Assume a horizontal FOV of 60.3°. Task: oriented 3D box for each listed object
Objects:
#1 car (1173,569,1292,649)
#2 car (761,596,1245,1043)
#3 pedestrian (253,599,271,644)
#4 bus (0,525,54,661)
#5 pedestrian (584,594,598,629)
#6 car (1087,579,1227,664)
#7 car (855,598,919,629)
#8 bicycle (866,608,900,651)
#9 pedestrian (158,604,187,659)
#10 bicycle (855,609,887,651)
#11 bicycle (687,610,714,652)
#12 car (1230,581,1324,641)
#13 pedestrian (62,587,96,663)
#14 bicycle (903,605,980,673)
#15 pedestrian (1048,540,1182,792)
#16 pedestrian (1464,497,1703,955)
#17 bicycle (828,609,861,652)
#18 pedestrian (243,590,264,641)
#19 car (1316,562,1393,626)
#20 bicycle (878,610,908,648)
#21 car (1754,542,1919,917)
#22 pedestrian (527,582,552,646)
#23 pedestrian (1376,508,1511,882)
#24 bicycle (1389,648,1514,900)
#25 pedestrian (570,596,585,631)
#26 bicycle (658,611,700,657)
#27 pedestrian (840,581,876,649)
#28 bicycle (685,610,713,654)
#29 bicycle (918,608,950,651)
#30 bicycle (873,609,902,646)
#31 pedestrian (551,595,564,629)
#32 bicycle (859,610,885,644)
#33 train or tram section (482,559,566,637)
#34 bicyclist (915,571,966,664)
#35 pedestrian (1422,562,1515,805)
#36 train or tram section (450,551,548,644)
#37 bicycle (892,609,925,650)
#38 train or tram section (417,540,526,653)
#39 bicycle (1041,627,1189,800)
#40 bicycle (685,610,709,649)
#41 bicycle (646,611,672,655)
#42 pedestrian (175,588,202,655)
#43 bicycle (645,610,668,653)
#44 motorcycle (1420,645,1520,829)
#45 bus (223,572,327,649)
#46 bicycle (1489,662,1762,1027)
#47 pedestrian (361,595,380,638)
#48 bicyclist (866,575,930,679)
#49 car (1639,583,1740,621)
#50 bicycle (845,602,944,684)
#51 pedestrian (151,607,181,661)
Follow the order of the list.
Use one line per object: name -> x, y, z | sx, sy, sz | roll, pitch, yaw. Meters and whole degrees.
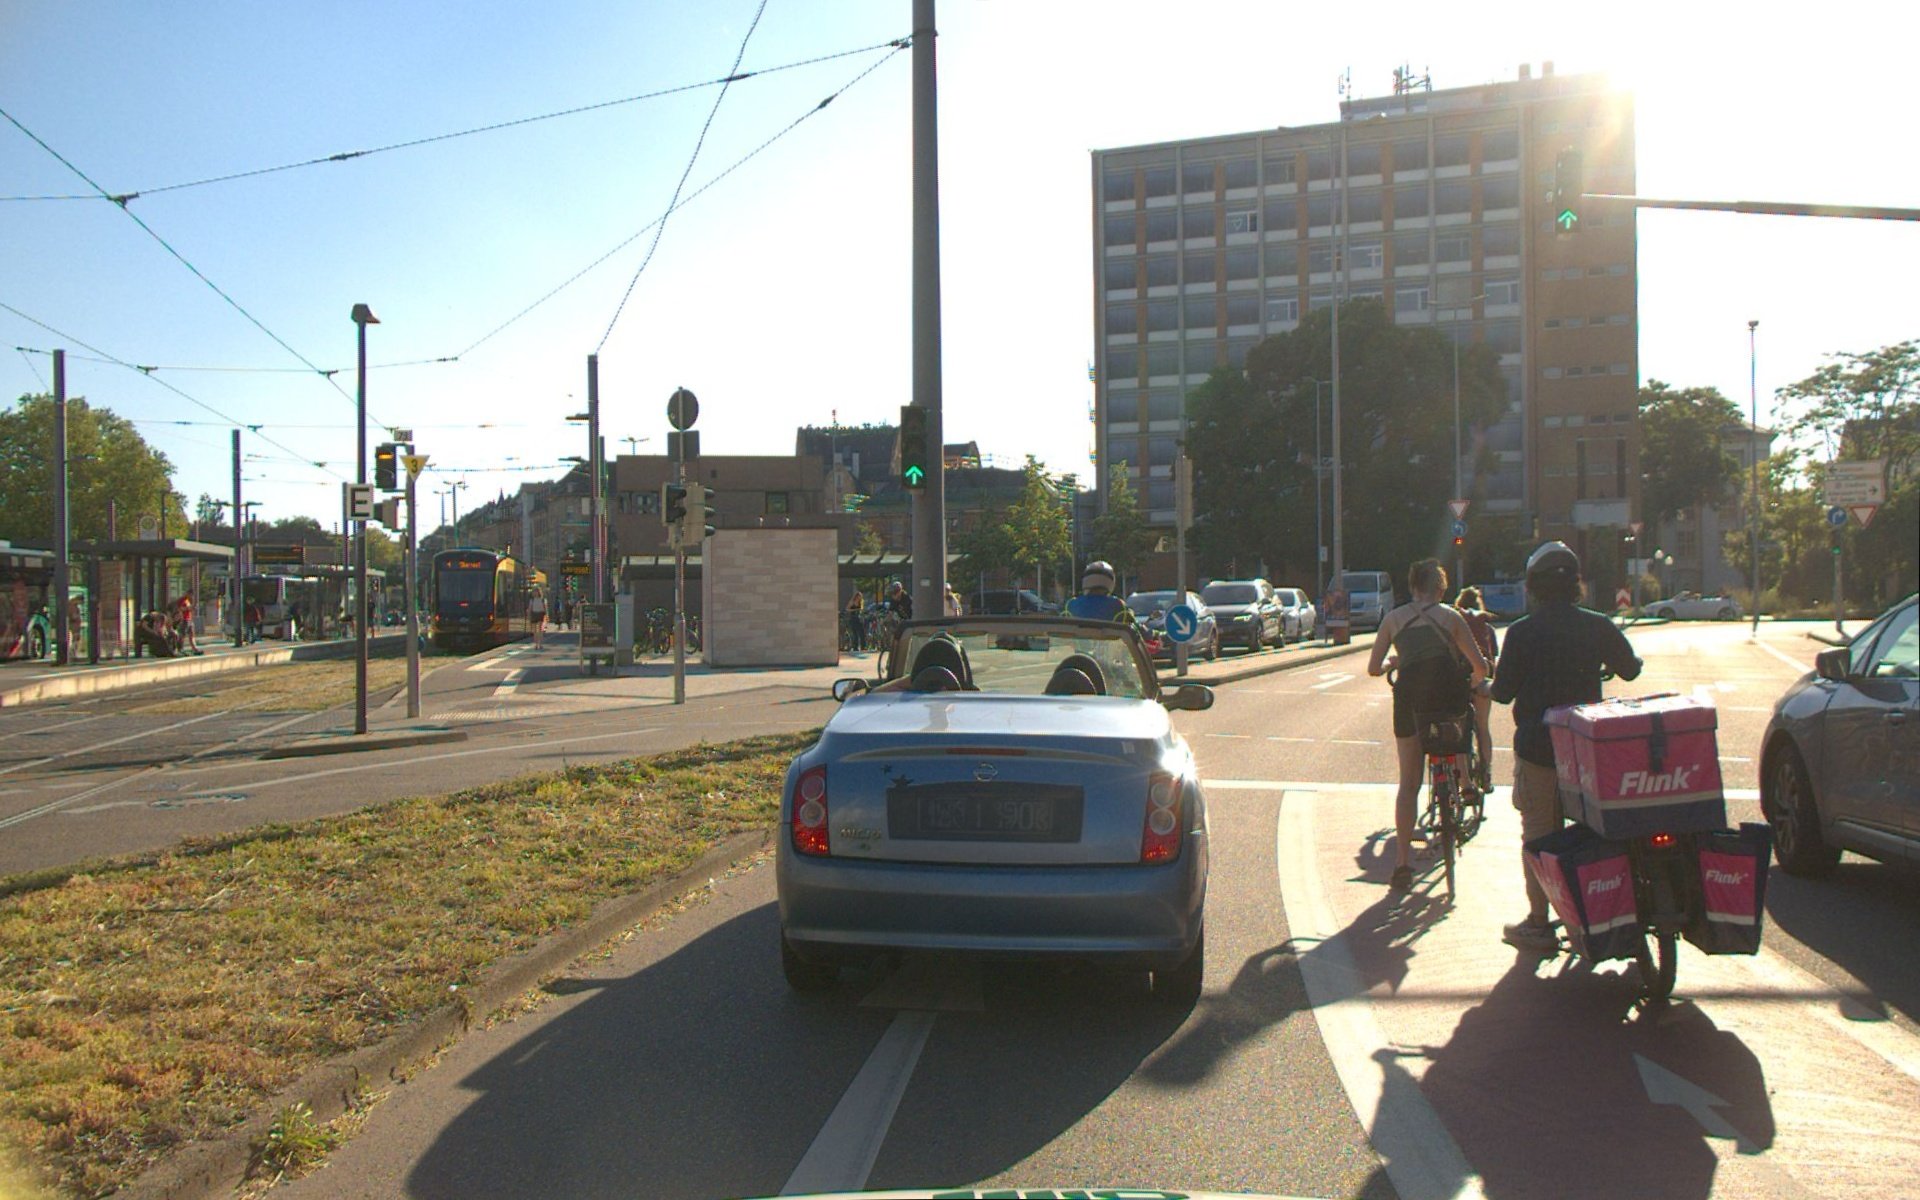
car -> 6.558, 0.194, 39.392 | 1.726, 1.736, 4.529 | -2, -1, 23
car -> 0.355, 0.747, 7.681 | 1.625, 1.466, 4.157 | 1, 0, 6
pedestrian -> -27.873, 0.838, 66.049 | 0.562, 1.779, 0.636 | -1, 0, -20
bus -> -23.561, -0.177, 37.170 | 2.606, 3.190, 9.619 | 1, 0, -10
pedestrian -> -19.018, 0.600, 85.200 | 0.628, 1.779, 0.732 | -1, 0, -19
car -> 4.072, 0.426, 33.684 | 1.702, 1.601, 3.921 | 1, 0, 25
car -> -3.913, 0.741, 88.406 | 1.629, 1.588, 3.549 | -1, 0, -39
bicycle -> -2.110, 0.784, 45.215 | 0.596, 1.134, 1.890 | 1, 0, -13
pedestrian -> -20.252, 0.804, 42.548 | 0.561, 1.369, 0.637 | -1, 0, -17
bicycle -> -2.558, 0.844, 47.139 | 0.596, 1.134, 1.890 | 1, 0, -13
bicycle -> -7.279, 0.863, 46.335 | 0.596, 1.134, 1.890 | 1, 0, -13
car -> 8.907, 0.284, 46.227 | 1.661, 1.588, 3.977 | -1, 0, 25
pedestrian -> -20.991, 0.592, 39.418 | 0.527, 1.779, 0.559 | -1, 0, -6
bicycle -> -0.325, 0.703, 30.781 | 0.660, 1.201, 2.183 | -1, 0, 21
pedestrian -> 1.237, 0.495, 13.044 | 0.816, 1.901, 0.921 | 1, -1, 20
pedestrian -> 2.763, 0.523, 7.426 | 0.789, 1.901, 0.957 | 1, -1, 8
bicycle -> -3.161, 0.825, 45.057 | 0.596, 1.134, 1.890 | 1, 0, -13
pedestrian -> -25.121, 0.547, 58.806 | 0.630, 1.779, 0.567 | -1, 0, -27
car -> 13.294, -0.189, 55.515 | 1.869, 1.979, 4.707 | -3, -1, 21
bicycle -> -2.087, 0.887, 51.221 | 0.596, 1.134, 1.890 | 1, 0, -13
car -> 5.297, 0.608, 7.482 | 1.792, 1.719, 4.372 | 1, 0, 8
pedestrian -> -11.851, 0.396, 46.622 | 0.628, 1.779, 0.569 | -1, 0, -19
pedestrian -> 2.588, 0.480, 8.922 | 0.645, 1.901, 0.873 | 1, -1, 14
bicycle -> 2.647, 0.871, 9.034 | 0.552, 1.171, 1.951 | 1, 0, 14
pedestrian -> -19.628, 0.675, 84.874 | 0.628, 1.779, 0.732 | -1, 0, -19
bicycle -> -7.183, 0.858, 42.338 | 0.594, 1.134, 1.898 | 1, 0, 5
pedestrian -> -2.879, 0.421, 46.640 | 0.885, 1.901, 0.685 | 1, -1, -13
bicycle -> -6.989, 0.846, 44.276 | 0.596, 1.134, 1.890 | 1, 0, -13
bicycle -> -0.721, 0.809, 45.540 | 0.595, 1.134, 1.892 | 1, 0, -10
bicycle -> -2.337, 0.868, 53.189 | 0.596, 1.134, 1.890 | 1, 0, -13
pedestrian -> -21.789, 0.650, 89.579 | 0.593, 1.779, 0.830 | -1, 0, -8
bicycle -> -3.020, 0.912, 56.684 | 0.596, 1.134, 1.890 | 1, 0, -13
train or tram section -> -22.045, -0.067, 84.257 | 2.984, 3.659, 12.024 | 1, 0, -10
bicyclist -> -0.359, 0.321, 30.722 | 0.694, 1.686, 0.743 | -1, 0, 21
pedestrian -> 3.573, 0.561, 11.646 | 0.575, 1.626, 1.025 | 1, -1, 16
train or tram section -> -19.979, -0.081, 72.362 | 2.957, 3.659, 12.169 | 1, 0, -10
bicycle -> -1.495, 0.831, 47.543 | 0.596, 1.134, 1.890 | 1, 0, -13
train or tram section -> -17.645, -0.104, 60.408 | 2.831, 3.659, 12.161 | 1, 0, -12
bicycle -> 1.269, 0.828, 13.044 | 0.595, 1.212, 2.415 | 1, 0, 19
bicycle -> -7.978, 0.894, 50.198 | 0.596, 1.134, 1.890 | 1, 0, -13
bicycle -> -7.992, 0.861, 43.930 | 0.596, 1.134, 1.890 | 1, 0, -13
pedestrian -> -20.706, 0.583, 44.406 | 0.561, 1.779, 0.637 | -1, 0, -17
bicycle -> -8.424, 0.862, 45.848 | 0.596, 1.134, 1.891 | 1, 0, -11
motorcycle -> 3.589, 0.901, 11.713 | 0.600, 1.117, 2.361 | 1, 0, 16
bus -> -32.734, 0.469, 79.554 | 2.675, 3.331, 13.413 | 1, 0, -14
bicycle -> 2.716, 0.900, 6.995 | 0.542, 1.192, 2.374 | 1, 0, 9
pedestrian -> -24.605, 0.692, 69.018 | 0.630, 1.779, 0.567 | -1, 0, -27
bicyclist -> -1.033, 0.451, 27.722 | 0.694, 1.686, 0.901 | -3, -1, 21
car -> 32.568, 0.088, 73.897 | 3.903, 1.557, 1.806 | -2, 0, 18
bicycle -> -1.063, 0.689, 27.602 | 0.660, 1.272, 2.457 | -3, -1, 21
pedestrian -> -20.094, 0.858, 41.868 | 0.606, 1.364, 0.438 | -1, 0, -18
